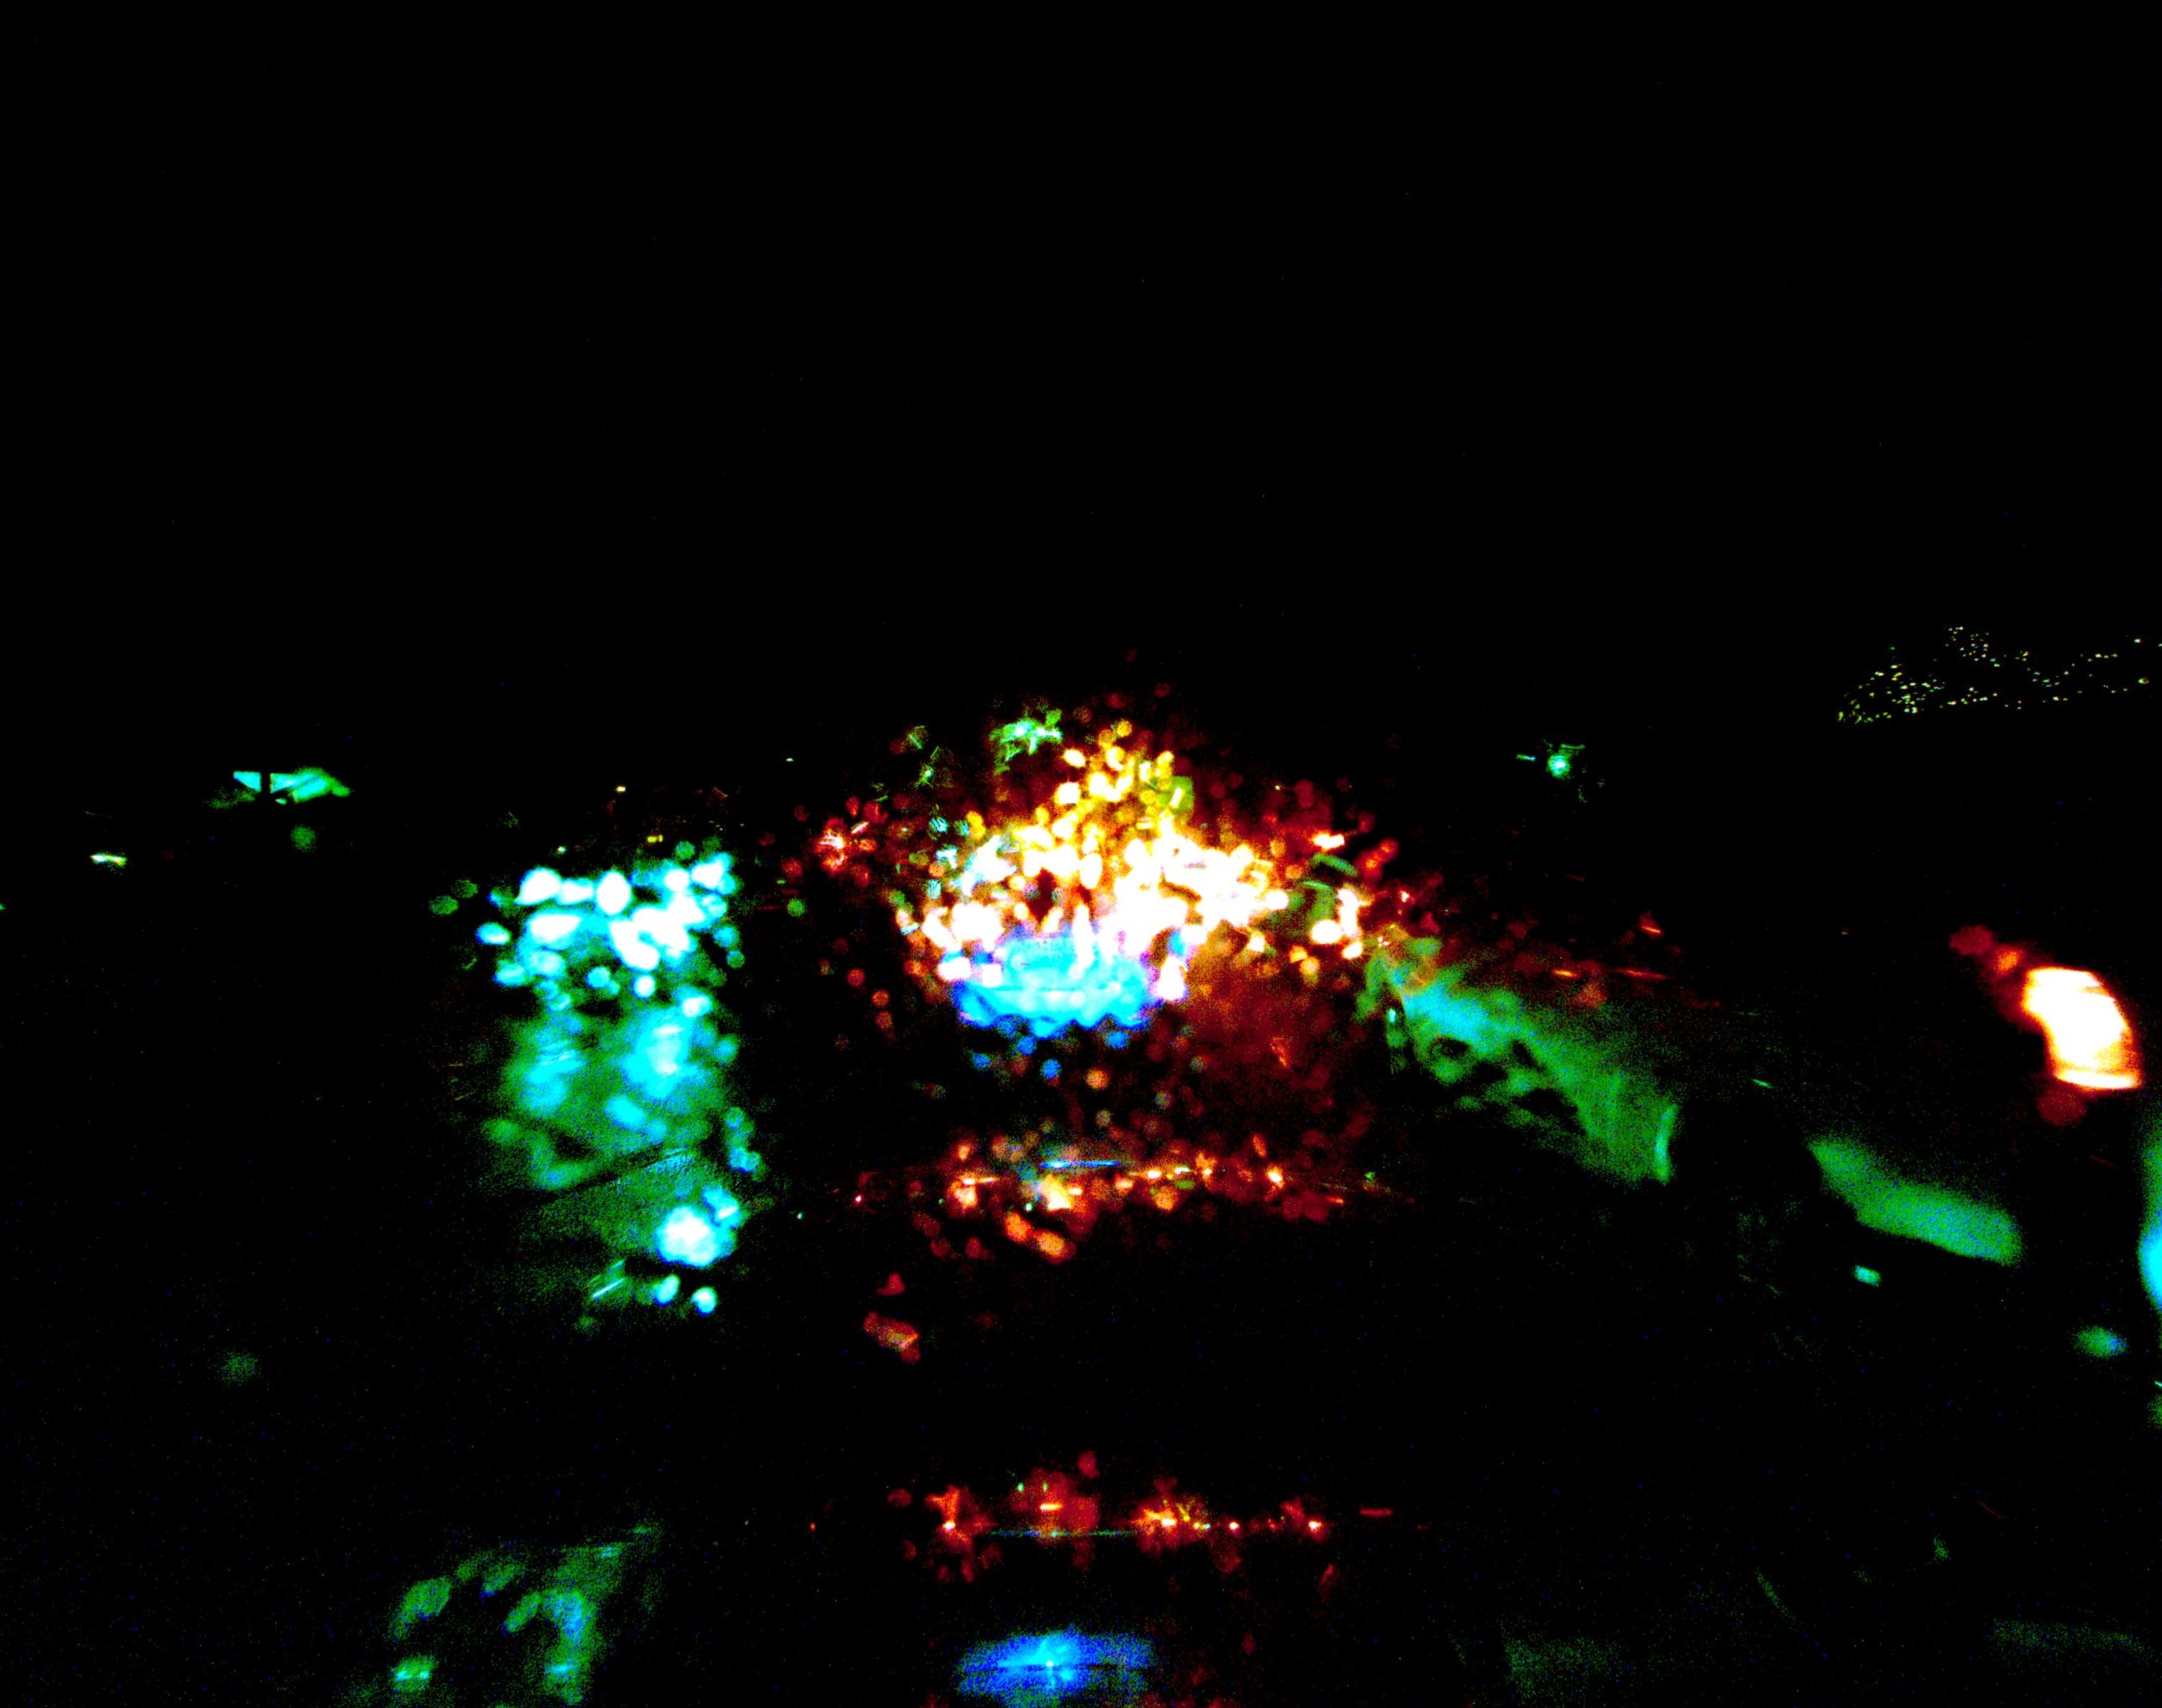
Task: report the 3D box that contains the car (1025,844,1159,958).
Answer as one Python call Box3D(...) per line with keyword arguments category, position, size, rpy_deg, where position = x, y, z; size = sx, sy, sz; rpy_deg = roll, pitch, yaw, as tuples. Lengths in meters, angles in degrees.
Box3D(category="car", position=(0.227, 0.714, 14.085), size=(1.986, 1.684, 4.001), rpy_deg=(0, -1, 2))

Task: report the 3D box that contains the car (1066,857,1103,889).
Box3D(category="car", position=(0.156, 1.084, 47.989), size=(1.989, 1.824, 3.995), rpy_deg=(0, -1, -3))

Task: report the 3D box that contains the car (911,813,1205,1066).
Box3D(category="car", position=(-0.152, 0.601, 7.803), size=(2.008, 1.717, 4.451), rpy_deg=(0, -1, 0))

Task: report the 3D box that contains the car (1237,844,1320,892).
Box3D(category="car", position=(6.581, 0.442, 27.617), size=(1.779, 1.442, 4.237), rpy_deg=(-2, 0, 0))

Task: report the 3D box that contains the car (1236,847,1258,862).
Box3D(category="car", position=(19.092, 0.077, 93.800), size=(1.857, 1.646, 3.965), rpy_deg=(-3, -1, 2))

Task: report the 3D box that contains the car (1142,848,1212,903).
Box3D(category="car", position=(3.111, 0.683, 27.137), size=(1.986, 1.670, 4.001), rpy_deg=(0, -1, 2))

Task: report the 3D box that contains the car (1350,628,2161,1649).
Box3D(category="car", position=(2.793, 0.528, 3.655), size=(1.845, 1.865, 4.342), rpy_deg=(0, -1, 2))

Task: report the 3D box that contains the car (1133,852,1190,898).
Box3D(category="car", position=(3.248, 0.832, 33.567), size=(1.987, 1.773, 4.000), rpy_deg=(0, -1, 0))

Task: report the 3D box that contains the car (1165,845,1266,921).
Box3D(category="car", position=(3.263, 0.677, 20.505), size=(1.986, 1.718, 4.001), rpy_deg=(0, -1, 2))

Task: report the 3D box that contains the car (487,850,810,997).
Box3D(category="car", position=(-5.688, 0.790, 11.538), size=(1.879, 1.568, 4.491), rpy_deg=(-1, 1, 4))

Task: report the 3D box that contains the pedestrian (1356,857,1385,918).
Box3D(category="pedestrian", position=(8.287, 0.953, 23.336), size=(0.621, 1.701, 0.541), rpy_deg=(0, -1, -1))

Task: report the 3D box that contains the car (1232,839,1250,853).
Box3D(category="car", position=(23.869, -1.231, 121.330), size=(1.986, 2.014, 4.001), rpy_deg=(0, -1, 2))

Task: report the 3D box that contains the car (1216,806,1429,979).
Box3D(category="car", position=(3.191, 0.472, 11.660), size=(1.961, 2.047, 4.001), rpy_deg=(0, -1, 2))

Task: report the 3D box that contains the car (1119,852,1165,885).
Box3D(category="car", position=(2.985, 0.701, 40.561), size=(1.853, 1.544, 3.927), rpy_deg=(0, -1, -2))
